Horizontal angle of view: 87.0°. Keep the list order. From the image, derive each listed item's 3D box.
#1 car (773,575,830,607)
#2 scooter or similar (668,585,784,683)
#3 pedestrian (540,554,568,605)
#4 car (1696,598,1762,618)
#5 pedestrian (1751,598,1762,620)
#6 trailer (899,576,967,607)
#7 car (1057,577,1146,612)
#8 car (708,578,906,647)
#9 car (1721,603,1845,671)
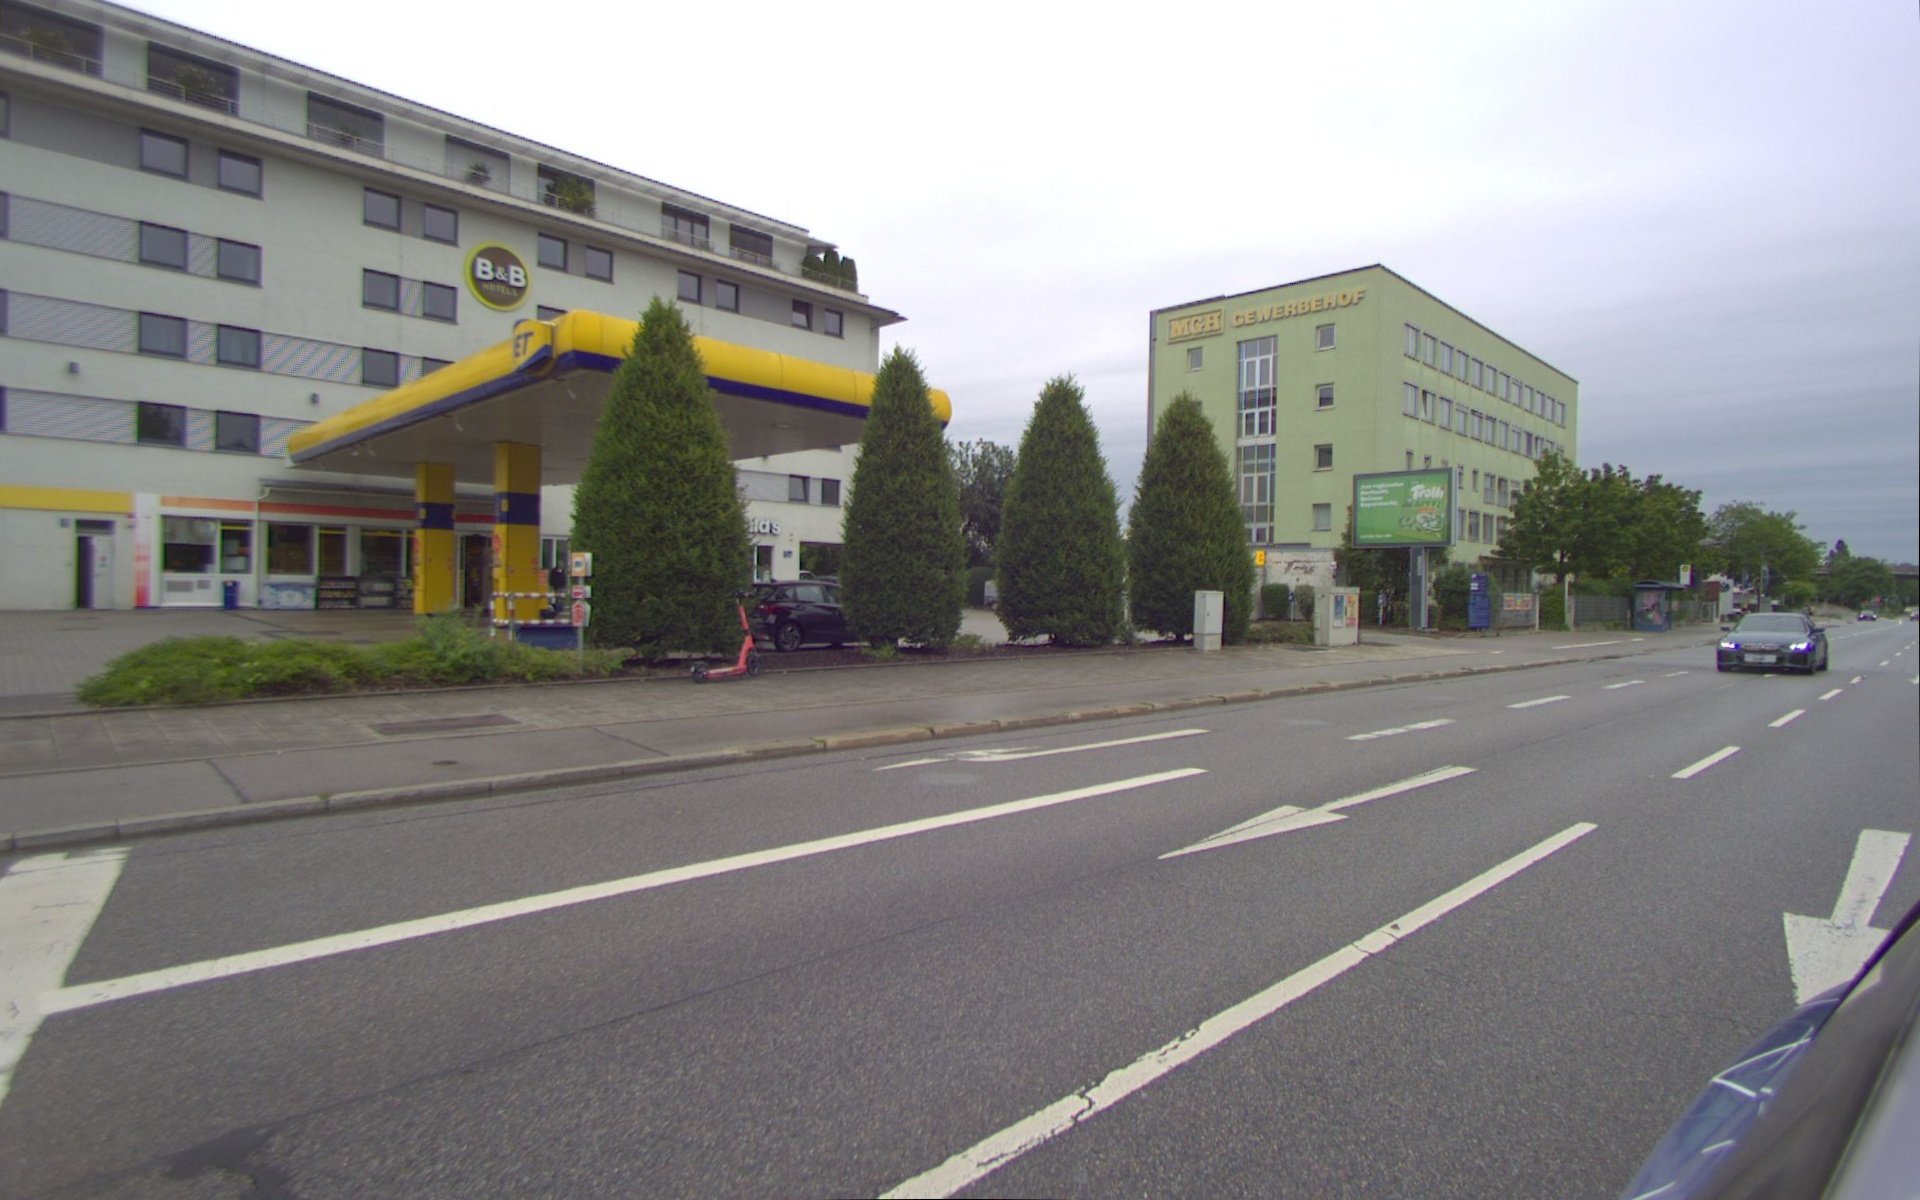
[{"bbox_3d":[-10.067,-0.560,64.225,1.692,1.967,3.992,1,0,-42],"label":"car"},{"bbox_3d":[-3.185,0.447,13.842,1.518,1.257,0.356,0,3,-40],"label":"scooter or similar"},{"bbox_3d":[-14.064,-0.710,35.052,0.706,1.750,0.634,0,-1,42],"label":"pedestrian"},{"bbox_3d":[72.500,0.749,95.470,4.594,1.866,1.787,0,0,23],"label":"car"},{"bbox_3d":[66.430,0.730,84.382,0.681,1.844,0.677,0,-1,44],"label":"pedestrian"},{"bbox_3d":[-1.533,-0.460,56.491,3.798,1.671,1.609,0,0,45],"label":"trailer"},{"bbox_3d":[6.142,-0.224,43.683,3.935,1.457,1.826,0,0,-45],"label":"car"},{"bbox_3d":[-3.206,0.248,21.720,1.794,1.349,3.936,0,0,44],"label":"car"},{"bbox_3d":[20.452,0.846,25.099,4.366,1.526,1.912,0,0,-44],"label":"car"}]
